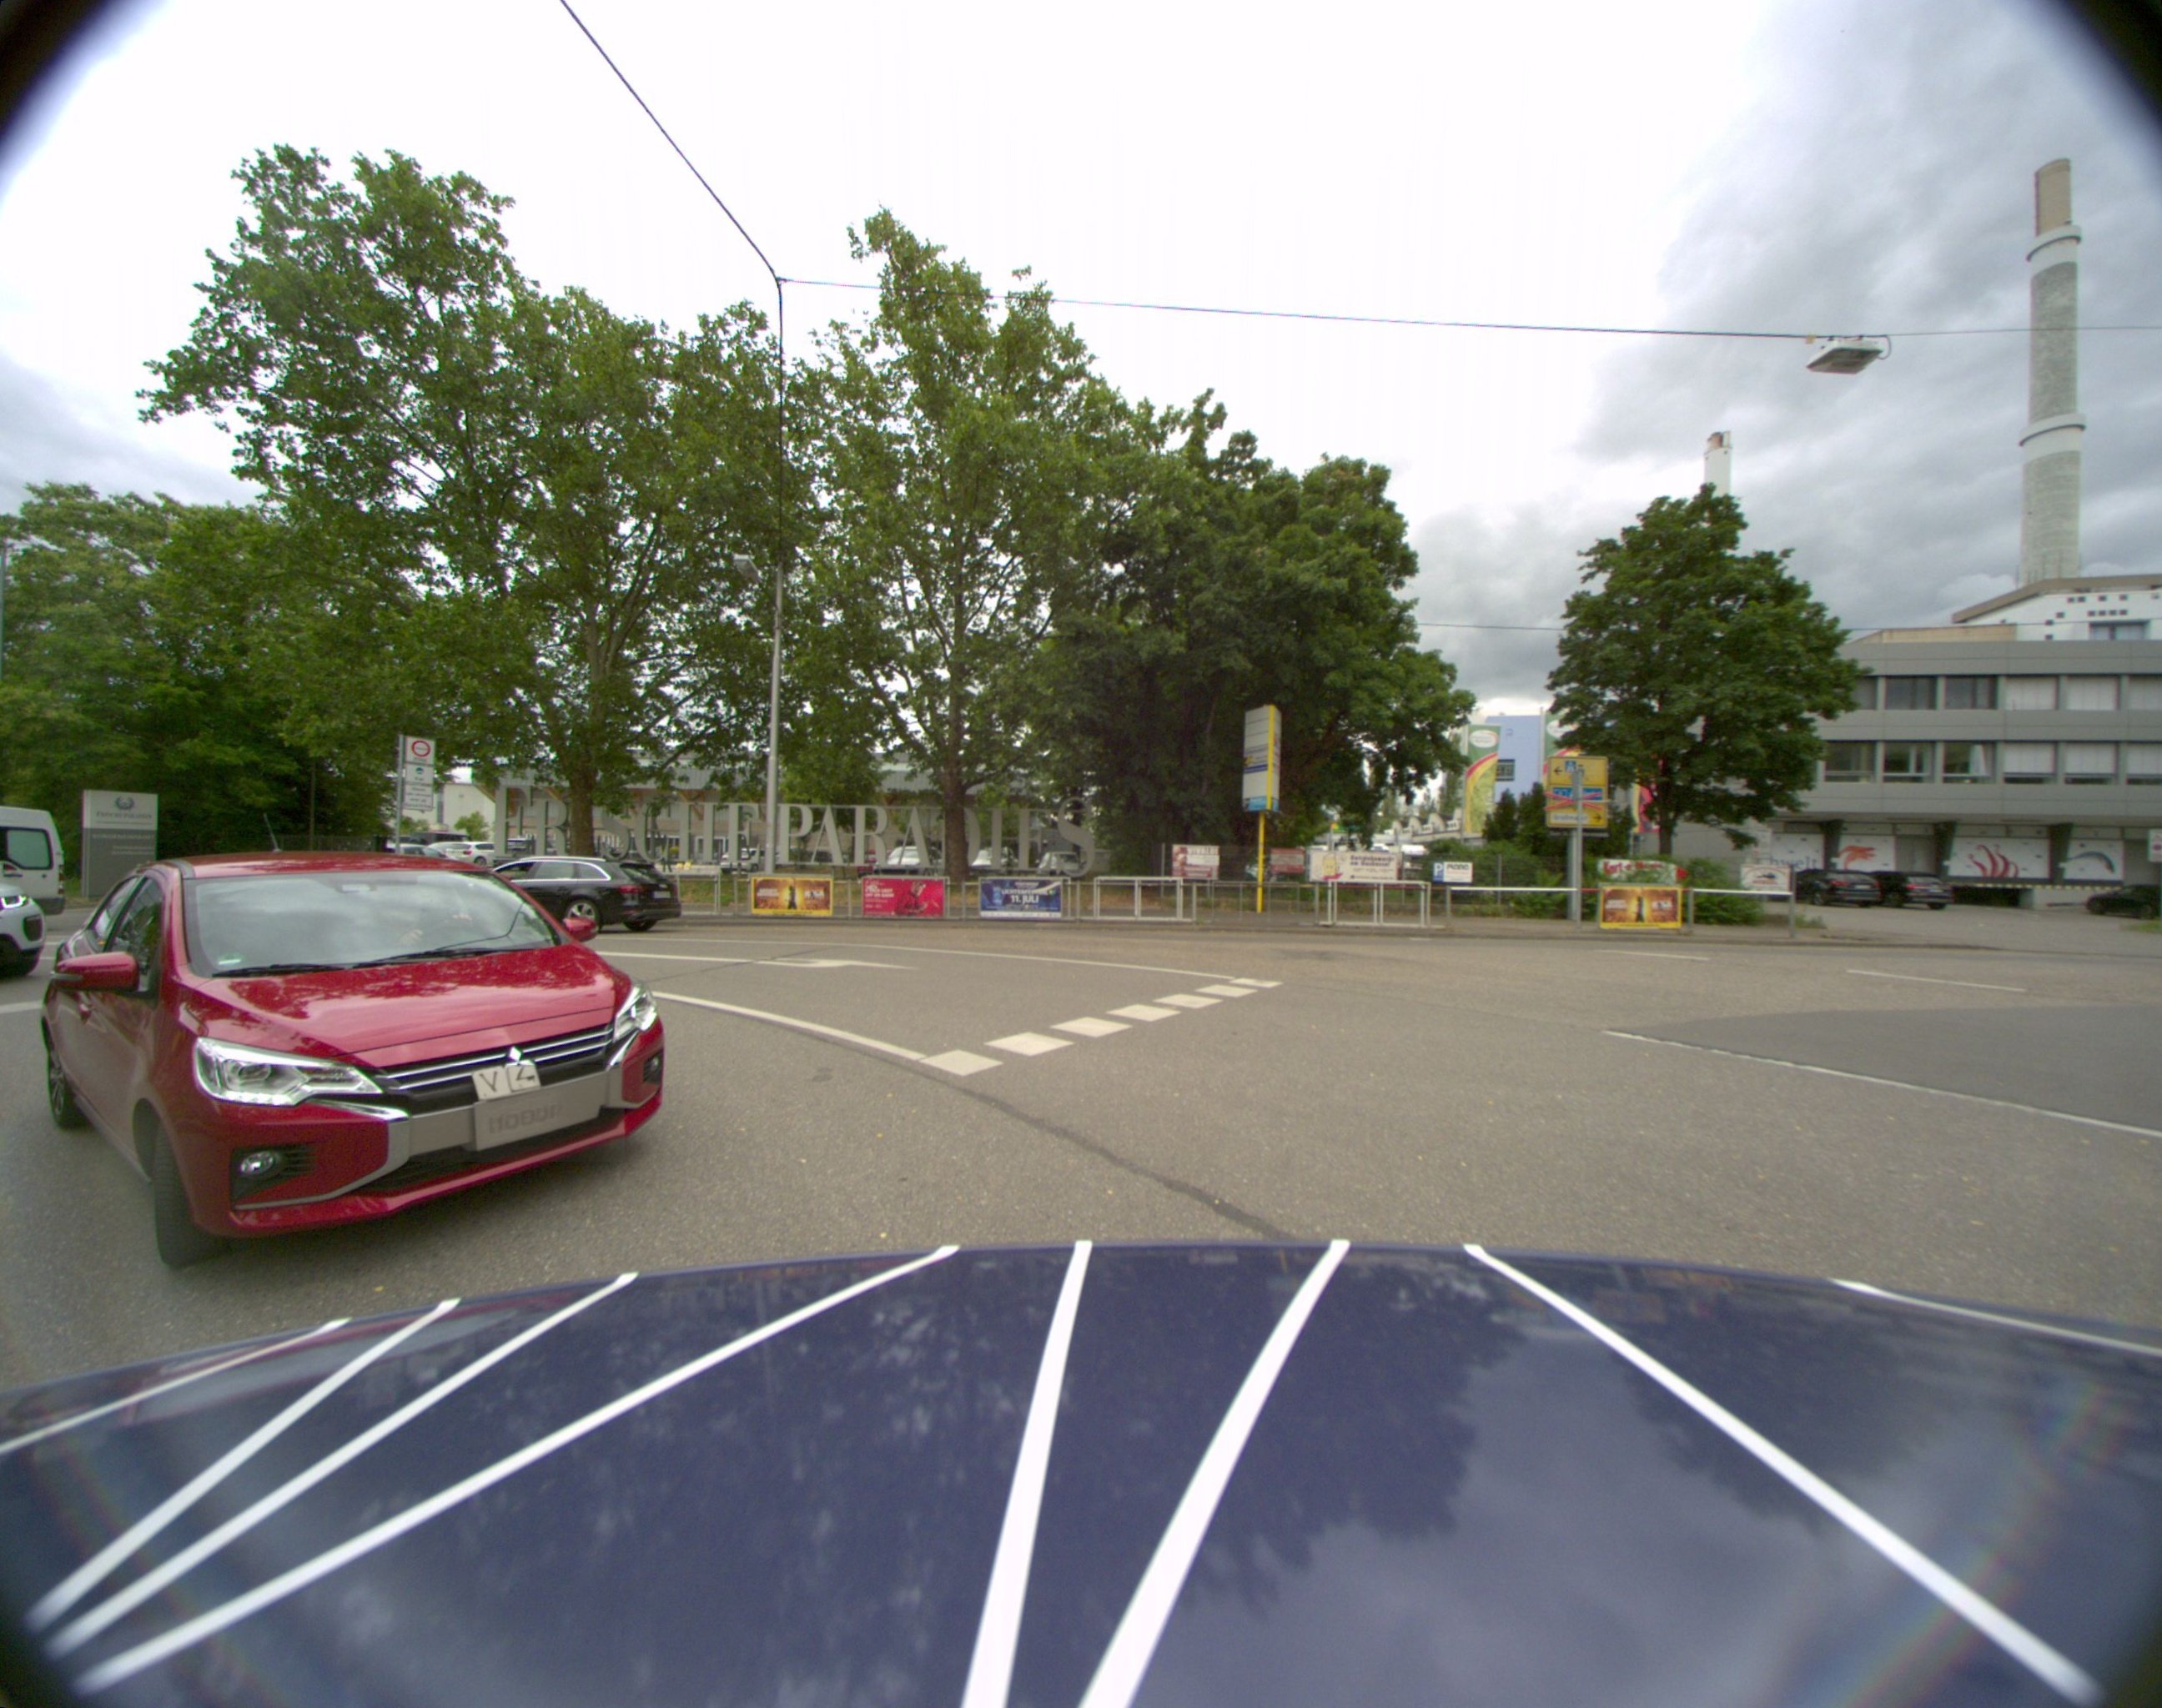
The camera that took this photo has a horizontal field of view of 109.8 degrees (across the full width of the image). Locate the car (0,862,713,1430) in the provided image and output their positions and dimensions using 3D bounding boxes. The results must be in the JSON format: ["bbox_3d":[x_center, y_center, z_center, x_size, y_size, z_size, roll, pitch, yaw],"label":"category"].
[{"bbox_3d":[-3.811,0.841,3.871,3.729,1.521,1.771,0,1,33],"label":"car"}]

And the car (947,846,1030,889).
[{"bbox_3d":[-3.477,0.470,29.550,1.997,1.449,4.702,-2,1,8],"label":"car"}]

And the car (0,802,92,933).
[{"bbox_3d":[-24.037,0.381,15.088,6.475,2.527,2.193,-2,1,6],"label":"car"}]

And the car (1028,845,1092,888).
[{"bbox_3d":[-0.729,0.437,29.794,1.998,1.449,4.700,-2,1,4],"label":"car"}]

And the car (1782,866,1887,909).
[{"bbox_3d":[34.638,1.500,35.057,1.775,1.669,3.575,-2,1,12],"label":"car"}]

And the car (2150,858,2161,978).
[{"bbox_3d":[18.184,1.046,10.758,4.231,1.761,1.831,3,-1,-10],"label":"car"}]

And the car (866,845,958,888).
[{"bbox_3d":[-6.566,0.427,30.129,1.997,1.449,4.702,-2,1,8],"label":"car"}]

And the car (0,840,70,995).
[{"bbox_3d":[-13.149,0.625,7.632,4.106,1.561,1.918,2,3,10],"label":"car"}]

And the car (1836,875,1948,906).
[{"bbox_3d":[37.152,1.645,34.940,1.775,1.171,3.575,-2,1,12],"label":"car"}]

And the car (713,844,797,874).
[{"bbox_3d":[-17.893,0.230,42.048,1.936,1.423,5.252,-2,1,5],"label":"car"}]

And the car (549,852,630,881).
[{"bbox_3d":[-27.199,0.692,42.251,1.915,1.499,4.000,2,0,-1],"label":"car"}]

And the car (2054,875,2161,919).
[{"bbox_3d":[44.211,1.781,32.167,1.747,1.543,3.613,-2,1,11],"label":"car"}]

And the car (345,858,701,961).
[{"bbox_3d":[-10.315,1.002,14.329,5.217,1.448,2.001,-4,-1,2],"label":"car"}]

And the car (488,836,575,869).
[{"bbox_3d":[-30.342,-0.083,42.144,1.915,1.690,4.000,2,0,-1],"label":"car"}]

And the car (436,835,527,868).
[{"bbox_3d":[-33.626,-0.124,42.765,1.915,1.690,4.000,2,0,-1],"label":"car"}]

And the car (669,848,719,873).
[{"bbox_3d":[-27.972,0.462,55.073,1.752,1.674,3.571,-2,1,0],"label":"car"}]
